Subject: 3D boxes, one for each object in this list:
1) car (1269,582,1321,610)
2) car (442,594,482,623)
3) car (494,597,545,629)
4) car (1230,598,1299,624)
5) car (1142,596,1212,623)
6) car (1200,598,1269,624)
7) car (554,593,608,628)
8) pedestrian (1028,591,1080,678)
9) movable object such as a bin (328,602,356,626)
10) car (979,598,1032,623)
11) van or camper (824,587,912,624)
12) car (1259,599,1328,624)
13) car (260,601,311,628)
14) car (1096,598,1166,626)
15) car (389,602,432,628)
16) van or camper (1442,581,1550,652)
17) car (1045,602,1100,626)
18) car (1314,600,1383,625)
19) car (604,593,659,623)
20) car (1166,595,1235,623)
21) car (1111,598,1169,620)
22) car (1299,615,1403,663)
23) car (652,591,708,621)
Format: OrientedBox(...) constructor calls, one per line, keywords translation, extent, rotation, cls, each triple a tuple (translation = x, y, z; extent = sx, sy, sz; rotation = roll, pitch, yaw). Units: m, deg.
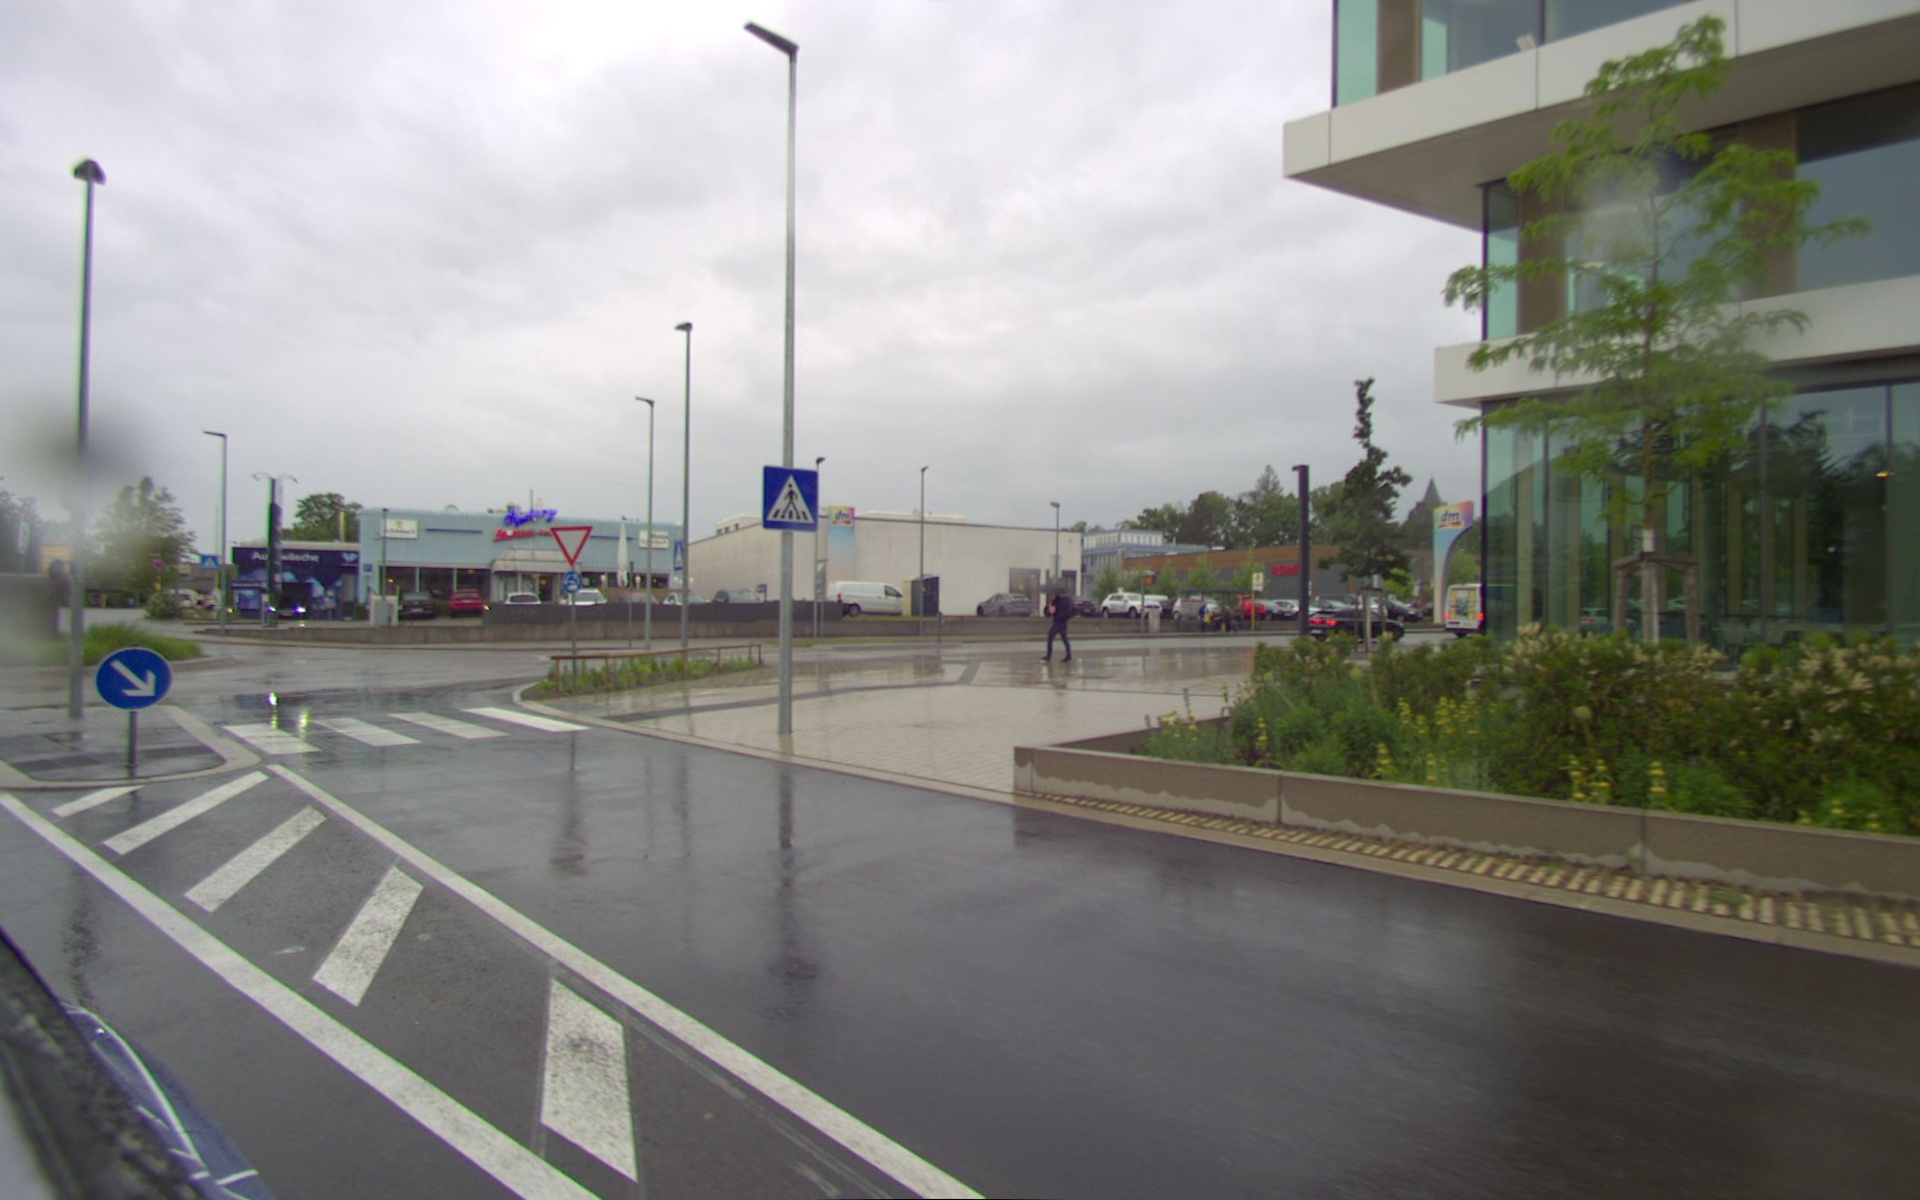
OrientedBox(translation=(27.257, -0.370, 82.334), extent=(3.933, 2.028, 2.006), rotation=(-3, 3, -32), cls="car")
OrientedBox(translation=(-27.625, 0.486, 56.187), extent=(1.855, 1.497, 4.013), rotation=(-3, 1, -26), cls="car")
OrientedBox(translation=(-19.777, 0.570, 45.330), extent=(1.855, 1.305, 4.013), rotation=(-3, 1, -26), cls="car")
OrientedBox(translation=(18.868, 0.712, 62.836), extent=(1.764, 1.564, 4.012), rotation=(0, -1, -29), cls="car")
OrientedBox(translation=(12.673, 0.565, 59.241), extent=(1.764, 1.564, 4.012), rotation=(0, -1, -29), cls="car")
OrientedBox(translation=(16.727, 0.678, 61.778), extent=(1.764, 1.564, 4.012), rotation=(0, -1, -29), cls="car")
OrientedBox(translation=(-17.672, 0.491, 47.079), extent=(1.764, 1.564, 4.012), rotation=(0, -1, -29), cls="car")
OrientedBox(translation=(2.258, 0.820, 24.350), extent=(0.930, 2.029, 0.883), rotation=(-1, -1, 36), cls="pedestrian")
OrientedBox(translation=(-35.118, 0.807, 57.532), extent=(1.194, 1.305, 1.483), rotation=(-3, 0, -26), cls="movable object such as a bin")
OrientedBox(translation=(2.975, 0.711, 67.032), extent=(1.763, 1.564, 4.013), rotation=(0, -1, -28), cls="car")
OrientedBox(translation=(-4.991, 0.297, 54.957), extent=(4.306, 1.774, 1.894), rotation=(-3, 1, -26), cls="van or camper")
OrientedBox(translation=(21.153, 0.742, 64.270), extent=(1.764, 1.564, 4.012), rotation=(0, -1, -29), cls="car")
OrientedBox(translation=(-40.721, 0.877, 61.154), extent=(1.888, 1.541, 4.013), rotation=(-2, 0, -24), cls="car")
OrientedBox(translation=(9.744, 0.689, 57.989), extent=(1.820, 1.564, 4.012), rotation=(0, -1, -29), cls="car")
OrientedBox(translation=(-29.621, 0.793, 54.628), extent=(1.855, 1.305, 4.013), rotation=(-3, 1, -26), cls="car")
OrientedBox(translation=(25.152, 0.718, 47.471), extent=(5.014, 3.111, 2.006), rotation=(-2, -1, -29), cls="van or camper")
OrientedBox(translation=(7.687, 0.968, 69.537), extent=(1.763, 1.564, 4.013), rotation=(0, -1, -28), cls="car")
OrientedBox(translation=(25.535, 0.838, 66.675), extent=(1.764, 1.564, 4.012), rotation=(0, -1, -29), cls="car")
OrientedBox(translation=(-15.591, 0.375, 47.877), extent=(1.855, 1.305, 4.013), rotation=(-3, 1, -26), cls="car")
OrientedBox(translation=(14.305, 0.550, 60.337), extent=(1.764, 1.564, 4.012), rotation=(0, -1, -29), cls="car")
OrientedBox(translation=(13.124, 0.659, 73.915), extent=(3.932, 1.564, 1.800), rotation=(0, -1, -31), cls="car")
OrientedBox(translation=(16.510, 1.598, 42.689), extent=(3.932, 1.741, 2.006), rotation=(-3, 1, -29), cls="car")
OrientedBox(translation=(-13.563, 0.297, 48.848), extent=(1.855, 1.305, 4.013), rotation=(-3, 1, -26), cls="car")
